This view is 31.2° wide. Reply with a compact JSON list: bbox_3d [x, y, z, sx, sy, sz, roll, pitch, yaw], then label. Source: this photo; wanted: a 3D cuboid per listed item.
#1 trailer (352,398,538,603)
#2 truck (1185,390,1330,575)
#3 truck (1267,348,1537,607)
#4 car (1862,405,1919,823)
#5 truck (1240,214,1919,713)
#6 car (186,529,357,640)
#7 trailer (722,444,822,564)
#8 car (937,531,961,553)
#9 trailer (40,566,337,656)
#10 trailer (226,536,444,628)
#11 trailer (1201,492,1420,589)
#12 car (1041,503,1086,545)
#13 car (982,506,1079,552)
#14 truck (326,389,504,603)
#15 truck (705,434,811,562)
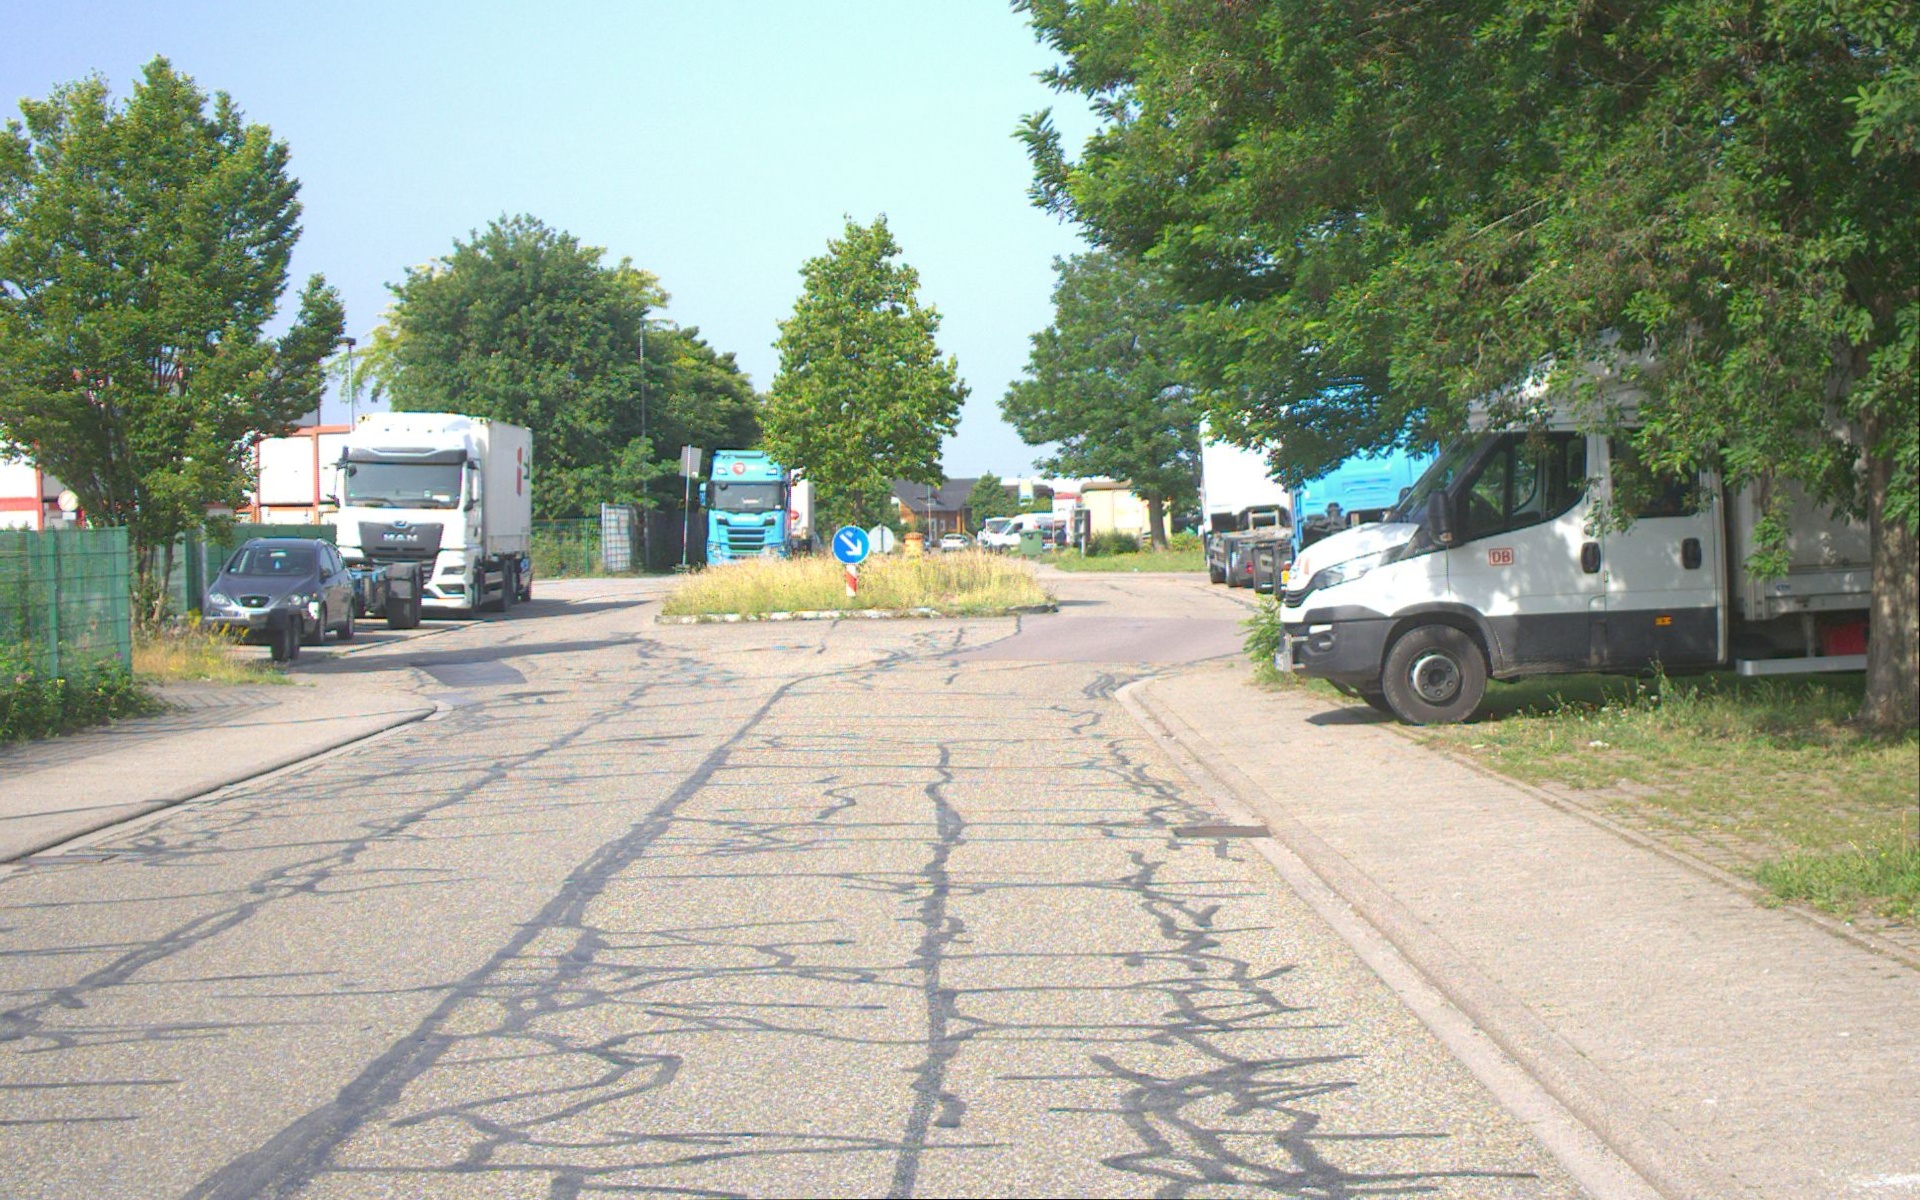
[{"bbox_3d":[-10.350,-1.920,69.797,2.699,3.908,7.575,1,0,-1],"label":"trailer"},{"bbox_3d":[6.784,-2.668,78.812,2.746,3.968,4.000,-4,1,0],"label":"truck"},{"bbox_3d":[6.857,-1.820,54.871,2.888,3.523,9.755,-5,0,1],"label":"truck"},{"bbox_3d":[6.186,0.008,14.932,3.987,1.831,2.000,-2,1,1],"label":"car"},{"bbox_3d":[6.366,-1.032,25.558,8.208,3.359,2.741,-2,0,-1],"label":"truck"},{"bbox_3d":[-10.440,-0.268,52.399,1.696,1.556,4.336,1,1,0],"label":"car"},{"bbox_3d":[-6.429,-3.213,118.869,2.831,3.829,12.036,1,0,0],"label":"trailer"},{"bbox_3d":[-0.818,-4.361,258.679,1.718,1.655,3.824,1,0,-2],"label":"car"},{"bbox_3d":[-10.137,0.109,45.827,2.547,0.922,6.710,2,1,-1],"label":"trailer"},{"bbox_3d":[-10.600,-0.340,58.723,2.681,1.448,5.077,0,2,1],"label":"trailer"},{"bbox_3d":[6.858,-1.236,69.776,2.746,1.568,16.172,-4,1,0],"label":"trailer"},{"bbox_3d":[4.518,-3.313,150.366,1.792,1.744,4.000,1,0,-1],"label":"car"},{"bbox_3d":[4.371,-4.381,211.778,5.770,2.724,1.999,1,0,7],"label":"car"},{"bbox_3d":[-10.303,-1.917,65.310,2.708,3.908,4.297,1,0,-1],"label":"truck"},{"bbox_3d":[-6.380,-3.173,109.670,2.825,3.812,9.673,1,0,0],"label":"truck"}]
